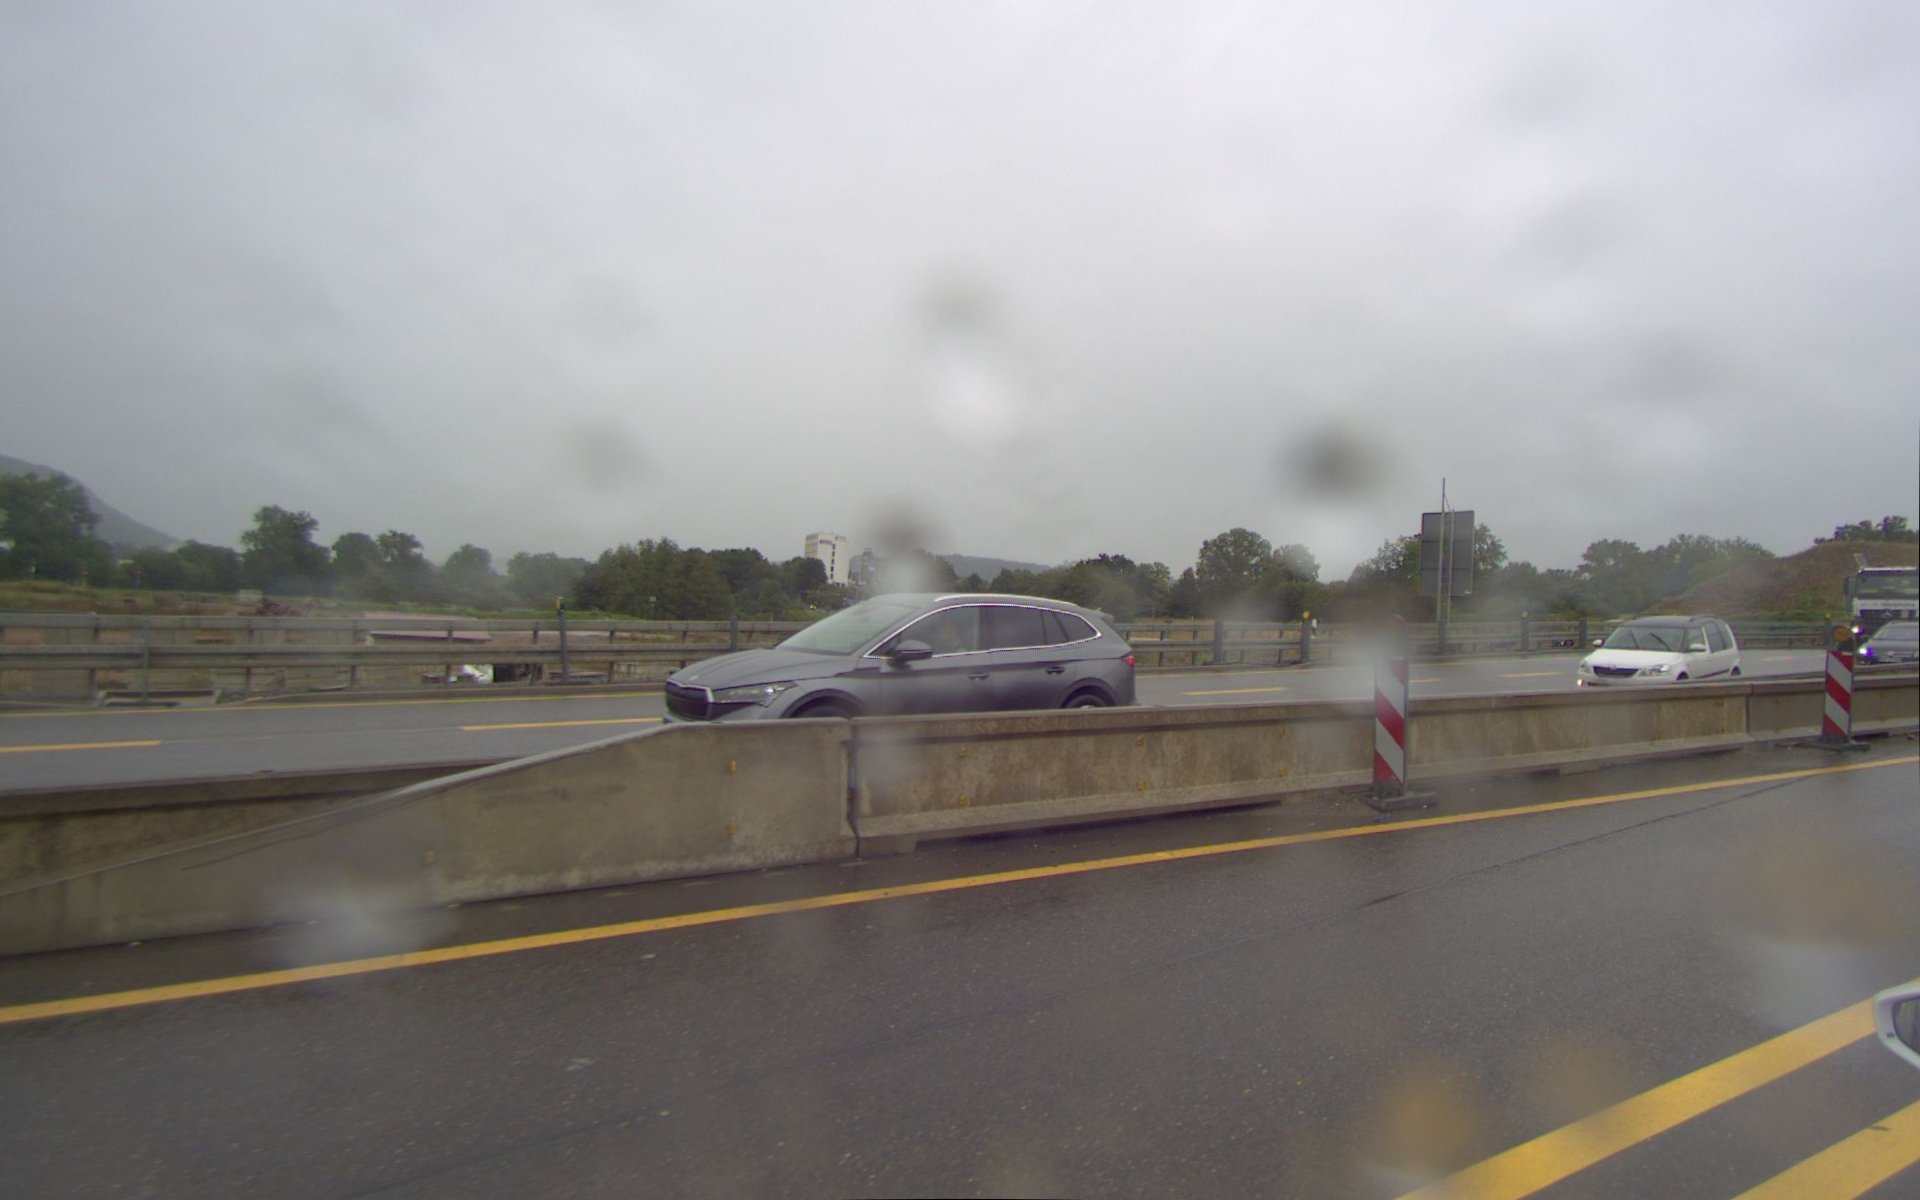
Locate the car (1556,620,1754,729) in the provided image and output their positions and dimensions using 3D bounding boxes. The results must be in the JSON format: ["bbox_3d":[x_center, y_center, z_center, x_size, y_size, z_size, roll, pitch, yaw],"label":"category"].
[{"bbox_3d":[13.458,1.470,19.356,4.458,1.833,1.773,6,-3,-36],"label":"car"}]

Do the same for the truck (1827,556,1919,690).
[{"bbox_3d":[38.467,1.018,40.707,8.481,4.984,3.062,3,-1,-36],"label":"truck"}]

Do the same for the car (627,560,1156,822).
[{"bbox_3d":[-0.453,0.804,9.090,4.458,1.833,1.773,6,-3,-36],"label":"car"}]

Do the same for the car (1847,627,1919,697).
[{"bbox_3d":[26.945,1.808,28.702,3.603,1.833,1.612,5,-3,-35],"label":"car"}]
